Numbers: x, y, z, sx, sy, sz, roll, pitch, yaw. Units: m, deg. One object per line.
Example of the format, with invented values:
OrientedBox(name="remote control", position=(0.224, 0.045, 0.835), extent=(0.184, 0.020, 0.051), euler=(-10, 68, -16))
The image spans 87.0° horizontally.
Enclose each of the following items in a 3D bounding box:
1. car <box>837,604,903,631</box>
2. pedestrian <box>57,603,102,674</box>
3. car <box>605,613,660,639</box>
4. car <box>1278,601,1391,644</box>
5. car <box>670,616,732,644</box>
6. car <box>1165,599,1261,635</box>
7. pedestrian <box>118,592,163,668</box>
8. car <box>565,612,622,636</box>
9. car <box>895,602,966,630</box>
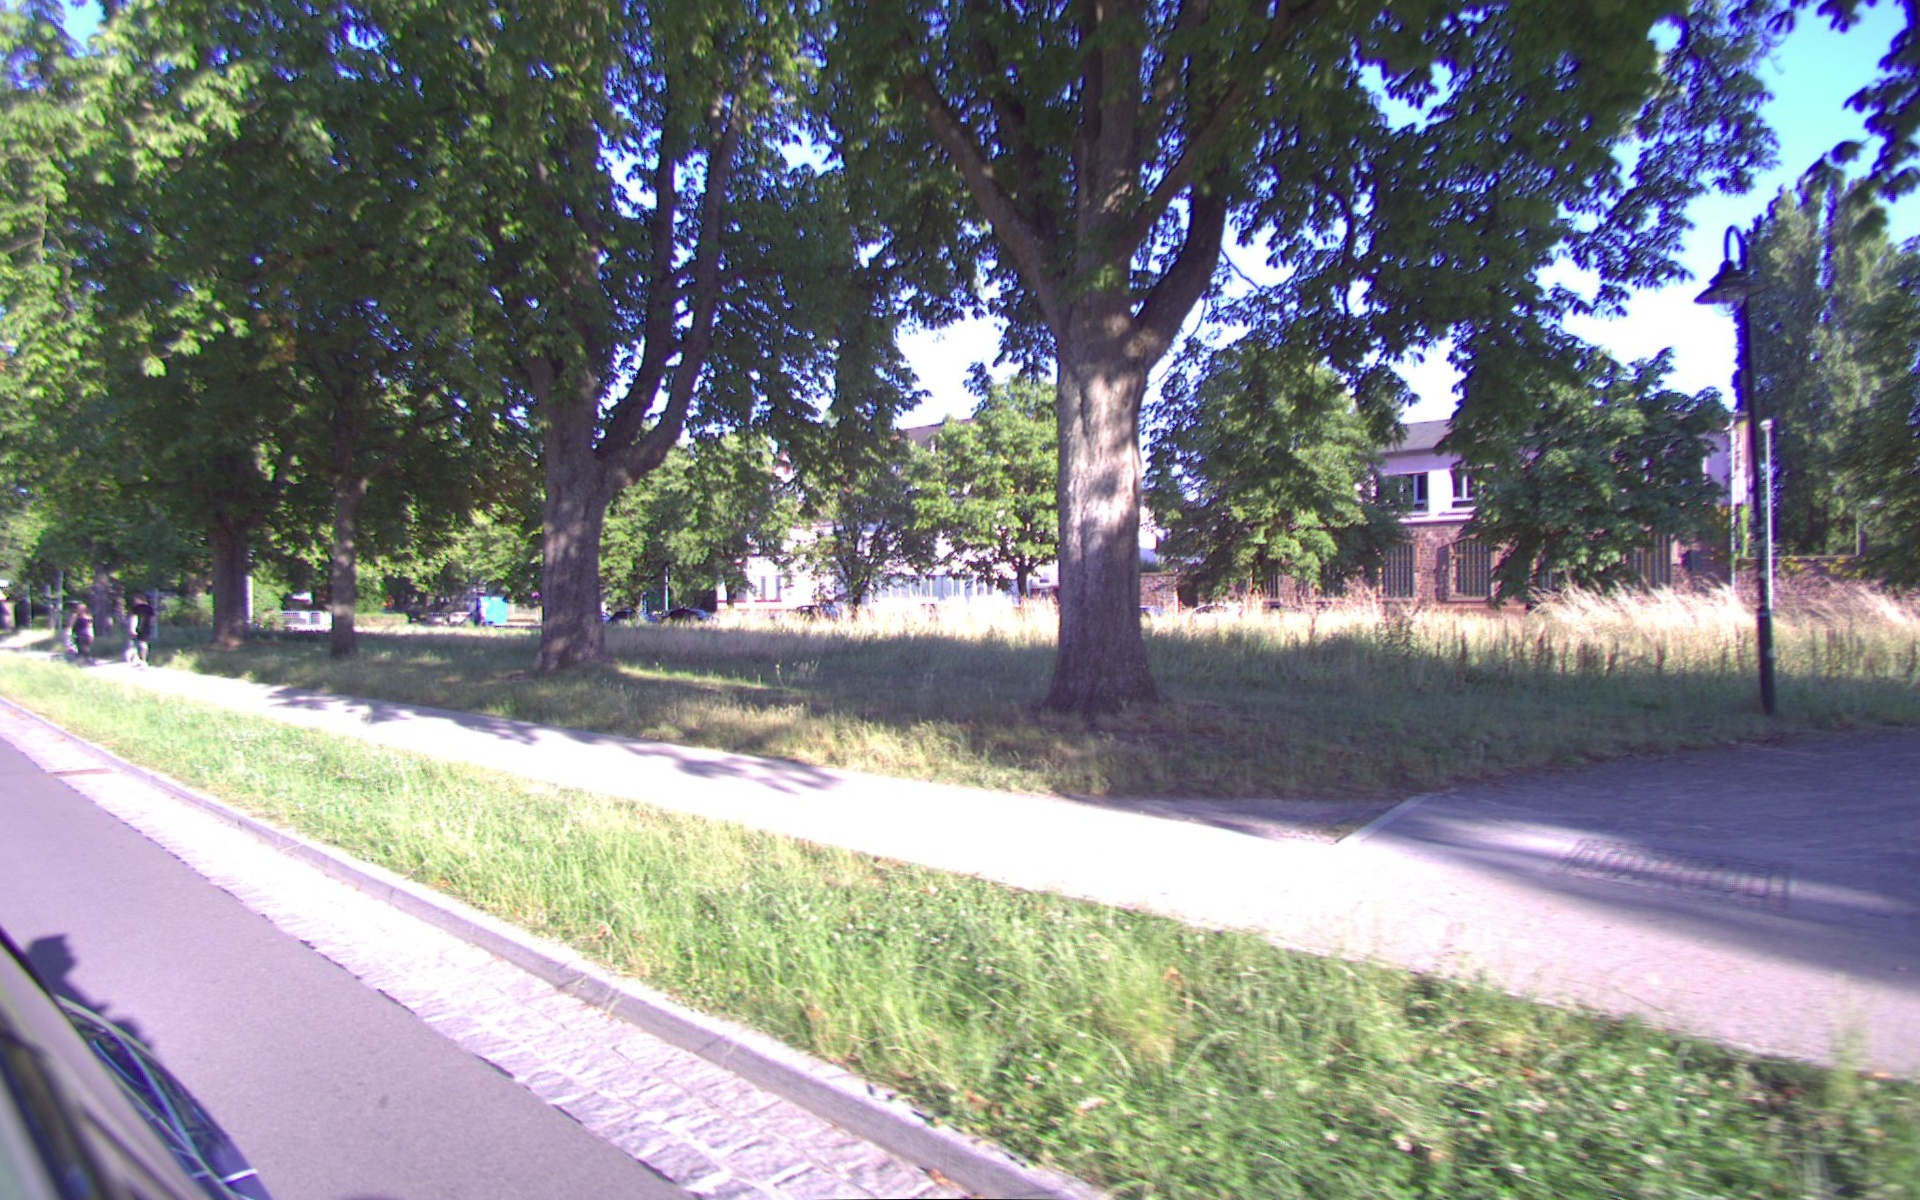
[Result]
OrientedBox(name="car", position=(-5.335, 1.010, 59.676), extent=(3.793, 1.490, 1.744), euler=(0, 1, 41))
OrientedBox(name="pedestrian", position=(-21.153, 0.907, 24.329), extent=(0.616, 1.643, 0.607), euler=(-1, 1, -23))
OrientedBox(name="car", position=(-22.020, 1.751, 67.988), extent=(3.998, 1.641, 1.744), euler=(-1, 0, 41))
OrientedBox(name="car", position=(15.378, 0.901, 41.634), extent=(3.998, 1.641, 1.744), euler=(-1, 0, 41))
OrientedBox(name="car", position=(-16.088, 1.858, 62.680), extent=(3.998, 1.641, 1.744), euler=(-1, 0, 41))
OrientedBox(name="car", position=(11.306, 0.727, 45.388), extent=(3.793, 1.490, 1.744), euler=(0, 1, 41))
OrientedBox(name="pedestrian", position=(-20.425, 0.738, 25.246), extent=(0.616, 1.865, 0.606), euler=(-1, 1, -10))
OrientedBox(name="car", position=(-25.886, 1.690, 71.447), extent=(4.424, 1.641, 1.849), euler=(-1, 0, 41))
OrientedBox(name="car", position=(-1.671, 0.881, 56.628), extent=(3.793, 1.490, 1.744), euler=(0, 1, 41))
